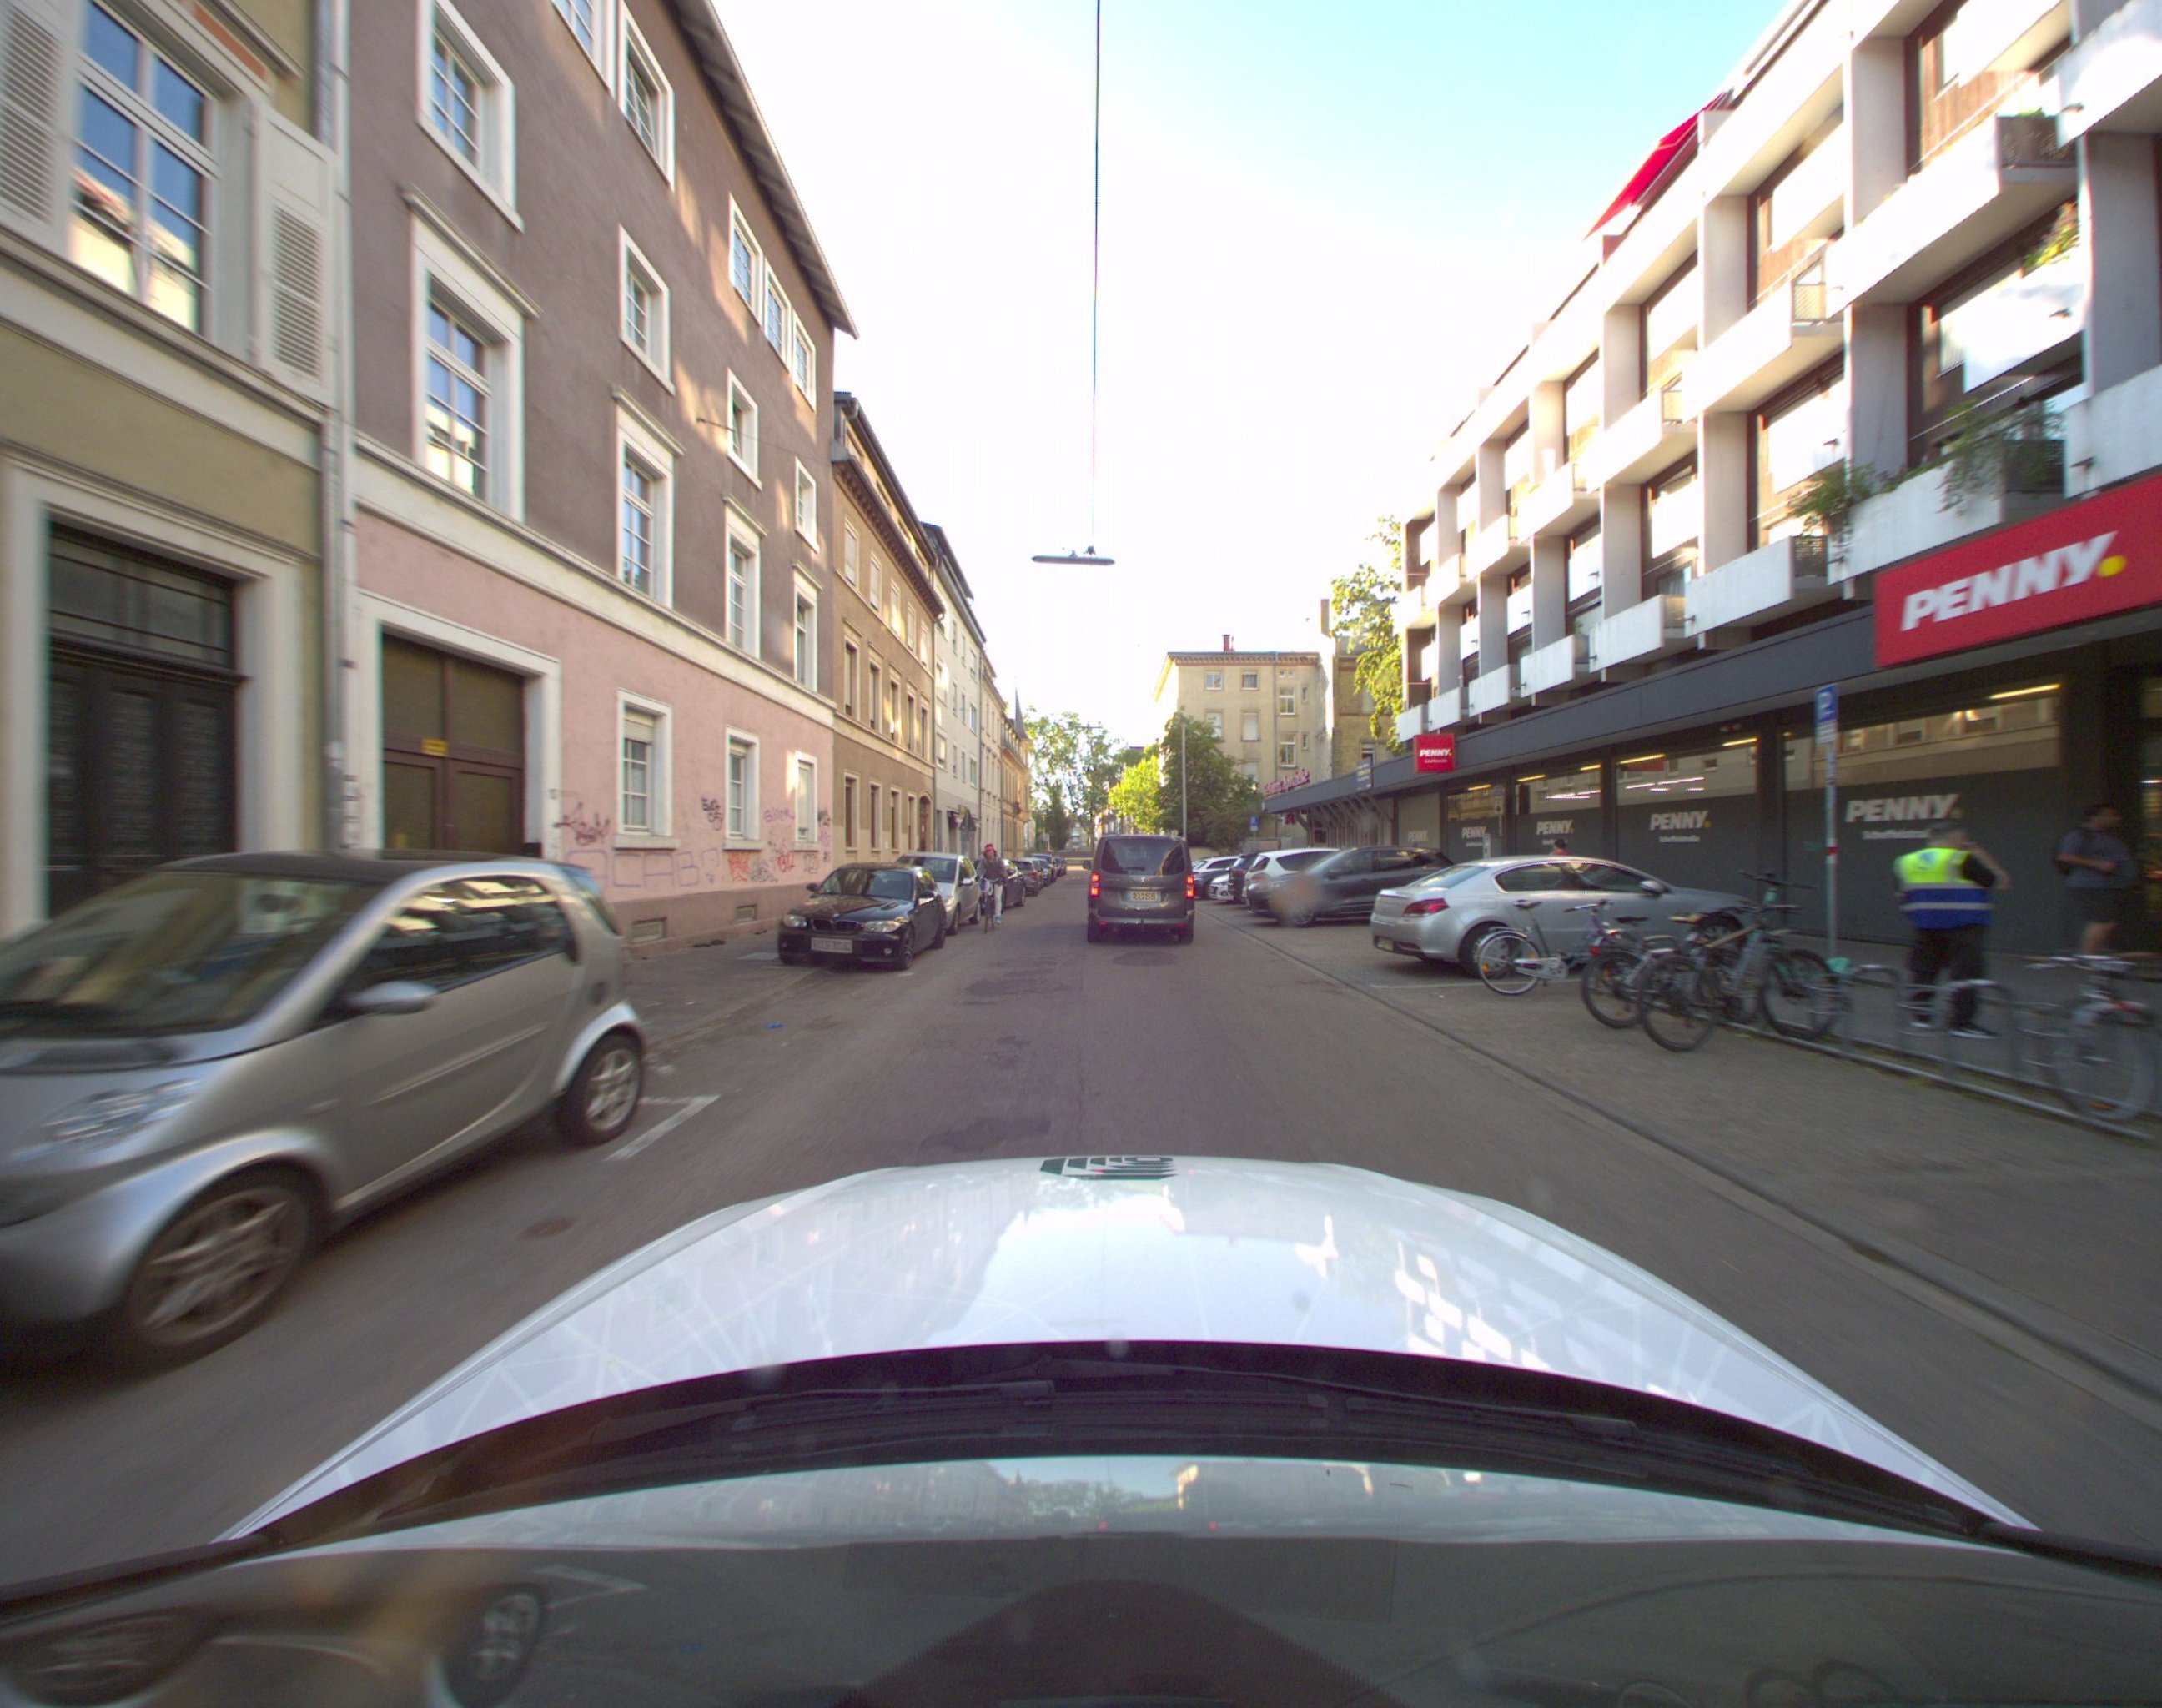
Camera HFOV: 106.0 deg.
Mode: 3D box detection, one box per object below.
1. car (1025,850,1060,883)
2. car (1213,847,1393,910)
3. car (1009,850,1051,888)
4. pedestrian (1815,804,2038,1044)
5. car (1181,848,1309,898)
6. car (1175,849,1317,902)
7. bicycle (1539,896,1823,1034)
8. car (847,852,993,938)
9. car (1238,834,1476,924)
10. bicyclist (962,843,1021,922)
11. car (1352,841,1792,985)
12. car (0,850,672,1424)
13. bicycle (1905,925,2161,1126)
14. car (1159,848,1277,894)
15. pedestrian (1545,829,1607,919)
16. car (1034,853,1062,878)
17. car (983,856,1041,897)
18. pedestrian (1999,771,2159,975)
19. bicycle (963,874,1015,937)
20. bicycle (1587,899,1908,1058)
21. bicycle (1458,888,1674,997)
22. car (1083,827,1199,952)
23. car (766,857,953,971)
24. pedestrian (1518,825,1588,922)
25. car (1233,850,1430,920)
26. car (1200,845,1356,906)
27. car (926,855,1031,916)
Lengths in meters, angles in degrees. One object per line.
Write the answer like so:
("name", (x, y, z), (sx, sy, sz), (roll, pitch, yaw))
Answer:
("car", (-2.257, 0.717, 48.714), (1.988, 1.858, 4.581), (0, 0, -2))
("car", (6.245, 0.667, 23.227), (4.564, 1.705, 1.996), (0, 0, -7))
("car", (-2.539, 0.727, 41.540), (1.988, 1.858, 4.581), (0, 0, -2))
("pedestrian", (6.765, 0.500, 6.540), (0.939, 1.720, 1.052), (-1, 0, -33))
("car", (6.345, 0.705, 31.782), (4.564, 1.858, 1.996), (0, 0, -7))
("car", (5.776, 0.718, 28.841), (4.564, 1.792, 1.996), (0, 0, -7))
("bicycle", (5.239, 0.939, 7.176), (2.038, 1.048, 0.723), (-1, 0, -5))
("car", (-3.246, 0.759, 17.436), (1.985, 1.605, 4.588), (0, 0, 3))
("car", (5.892, 0.513, 17.801), (4.555, 1.858, 2.000), (0, 0, -1))
("bicyclist", (-1.842, 0.572, 16.908), (1.029, 1.577, 0.834), (-1, 0, 5))
("car", (6.181, 0.704, 10.664), (4.610, 1.466, 1.841), (-3, 0, 0))
("car", (-3.259, 0.753, 3.584), (1.380, 1.532, 2.752), (0, 0, 4))
("bicycle", (6.142, 0.947, 4.781), (2.039, 0.935, 0.723), (-1, 0, -6))
("car", (5.714, 0.703, 34.213), (4.564, 1.858, 1.996), (0, 0, -7))
("pedestrian", (9.429, 0.369, 15.544), (0.895, 1.661, 0.876), (-1, 0, 24))
("car", (-2.486, 0.846, 61.483), (1.988, 1.858, 4.581), (0, 0, -2))
("car", (-2.729, 0.859, 33.106), (2.139, 1.560, 4.581), (0, 0, -2))
("pedestrian", (10.260, 0.174, 8.381), (1.008, 1.945, 0.863), (-1, 0, -30))
("bicycle", (-1.855, 1.020, 16.738), (0.618, 1.138, 2.260), (-1, 0, 4))
("bicycle", (5.180, 0.928, 6.387), (2.039, 1.048, 0.723), (-1, 0, -6))
("bicycle", (5.169, 0.930, 8.770), (1.890, 1.067, 0.679), (-1, 0, 4))
("car", (1.104, 0.582, 15.542), (1.850, 2.013, 4.003), (-2, 0, 3))
("car", (-3.146, 0.771, 12.523), (1.783, 1.397, 4.464), (1, 0, -2))
("pedestrian", (9.773, 0.403, 16.900), (1.077, 1.945, 0.875), (-1, 0, 18))
("car", (6.253, 0.743, 20.586), (4.447, 1.676, 1.794), (0, 0, -4))
("car", (6.206, 0.661, 25.930), (4.468, 1.858, 1.881), (0, 0, -7))
("car", (-2.790, 0.817, 23.335), (1.984, 1.560, 4.592), (0, 0, 6))
